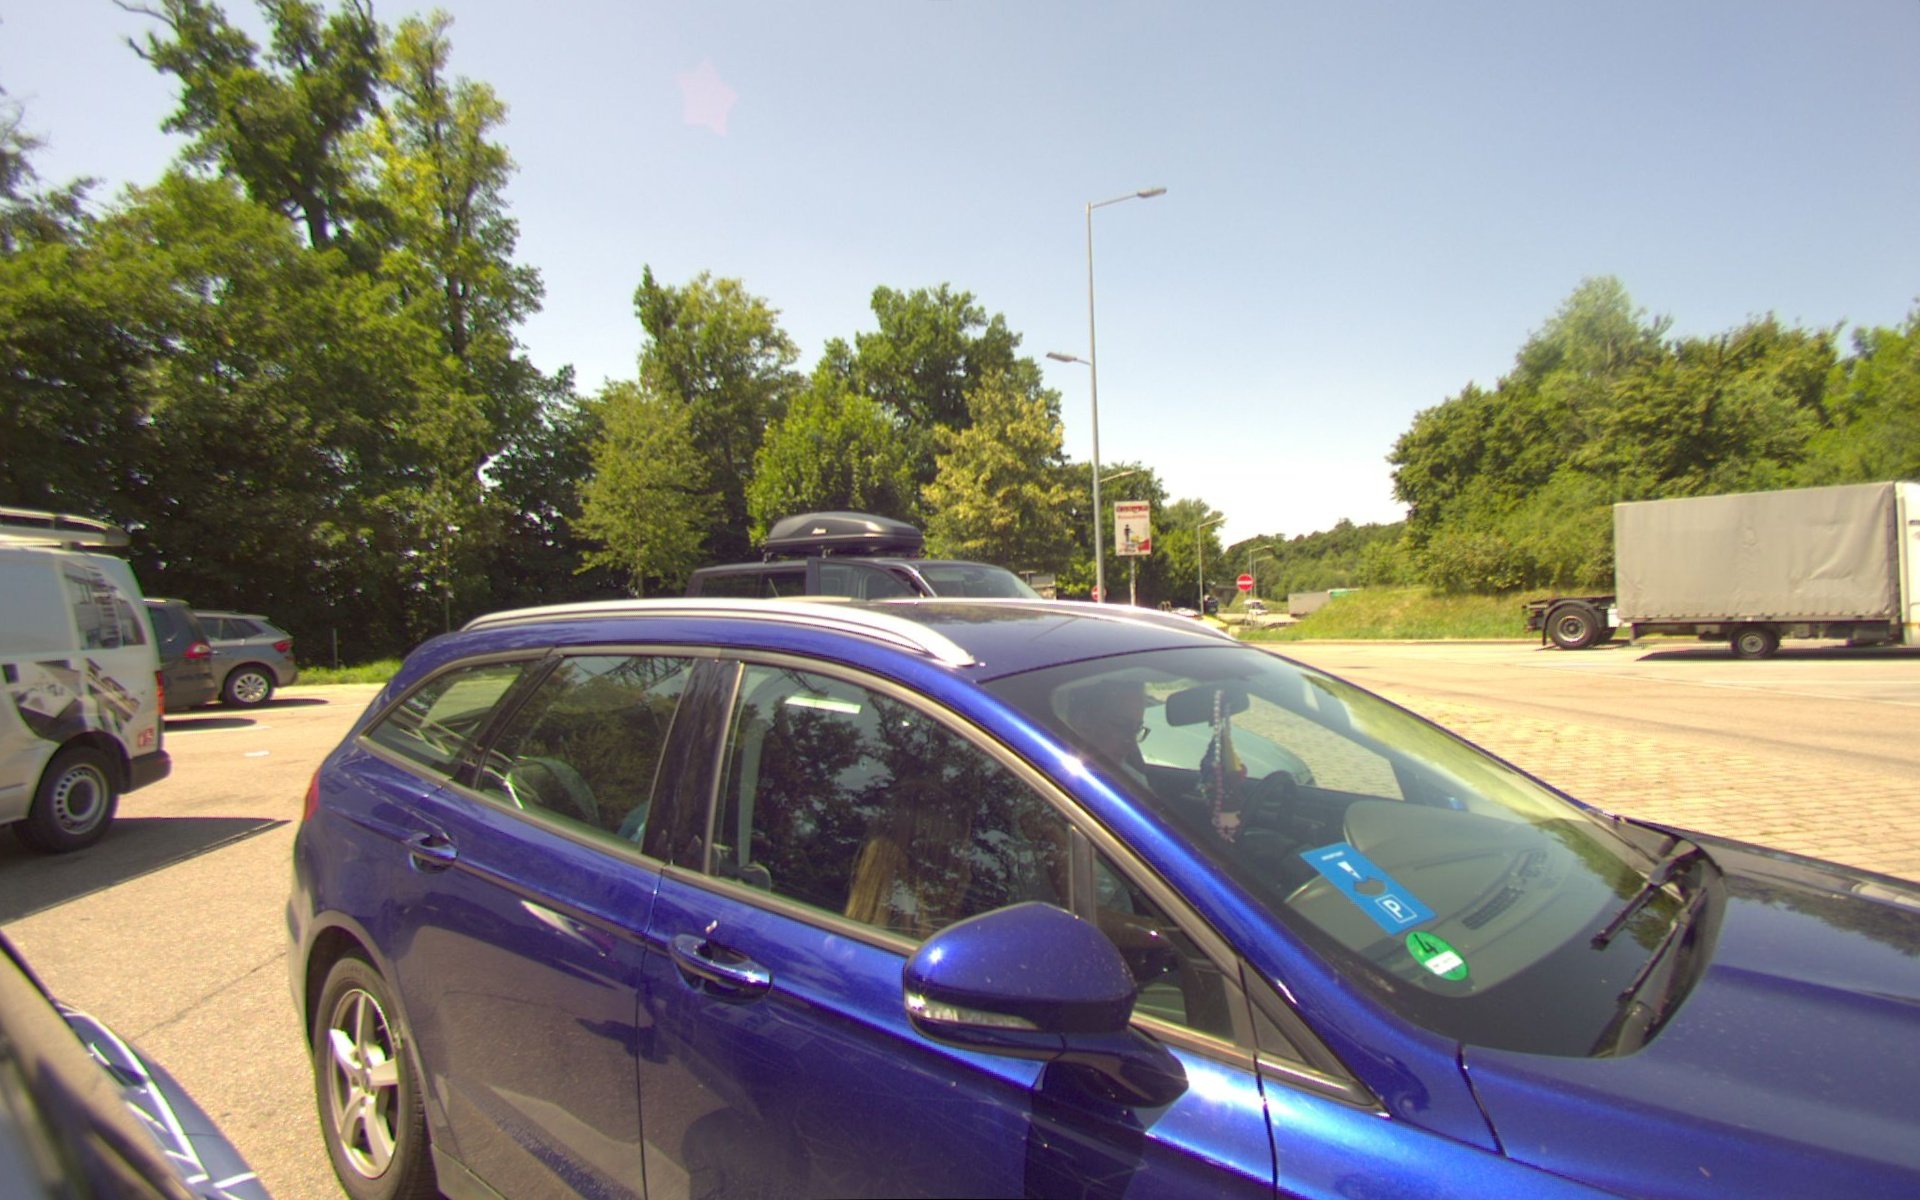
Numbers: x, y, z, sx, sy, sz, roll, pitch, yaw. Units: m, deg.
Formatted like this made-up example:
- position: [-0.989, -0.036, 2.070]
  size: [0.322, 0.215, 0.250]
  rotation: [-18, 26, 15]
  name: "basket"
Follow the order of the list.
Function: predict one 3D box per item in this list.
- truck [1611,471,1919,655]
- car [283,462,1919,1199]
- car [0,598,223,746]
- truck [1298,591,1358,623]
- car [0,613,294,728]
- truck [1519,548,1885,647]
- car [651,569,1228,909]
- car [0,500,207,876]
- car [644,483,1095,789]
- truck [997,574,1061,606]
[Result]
- position: [16.616, -0.624, 18.828]
  size: [7.253, 3.175, 2.148]
  rotation: [-2, -1, 41]
  name: "truck"
- position: [0.266, 0.650, 2.121]
  size: [4.411, 1.429, 1.721]
  rotation: [-2, -1, 41]
  name: "car"
- position: [-11.615, 0.855, 12.538]
  size: [1.755, 1.701, 3.798]
  rotation: [-2, -1, 45]
  name: "car"
- position: [49.460, 0.856, 136.497]
  size: [2.682, 4.119, 11.506]
  rotation: [-1, 0, -7]
  name: "truck"
- position: [-12.562, 1.000, 15.688]
  size: [3.535, 1.513, 1.708]
  rotation: [-1, 0, -42]
  name: "car"
- position: [16.973, 0.046, 23.570]
  size: [6.613, 2.029, 1.973]
  rotation: [-2, -1, 41]
  name: "truck"
- position: [-0.265, 0.599, 5.627]
  size: [3.112, 1.370, 1.326]
  rotation: [-2, -1, 41]
  name: "car"
- position: [-6.246, 0.485, 4.701]
  size: [1.816, 2.121, 5.440]
  rotation: [0, -1, -5]
  name: "car"
- position: [-0.967, 0.334, 9.635]
  size: [4.076, 2.336, 1.767]
  rotation: [-2, -1, 35]
  name: "car"
- position: [3.316, -0.460, 48.797]
  size: [2.866, 1.386, 1.158]
  rotation: [-2, -1, 22]
  name: "truck"
